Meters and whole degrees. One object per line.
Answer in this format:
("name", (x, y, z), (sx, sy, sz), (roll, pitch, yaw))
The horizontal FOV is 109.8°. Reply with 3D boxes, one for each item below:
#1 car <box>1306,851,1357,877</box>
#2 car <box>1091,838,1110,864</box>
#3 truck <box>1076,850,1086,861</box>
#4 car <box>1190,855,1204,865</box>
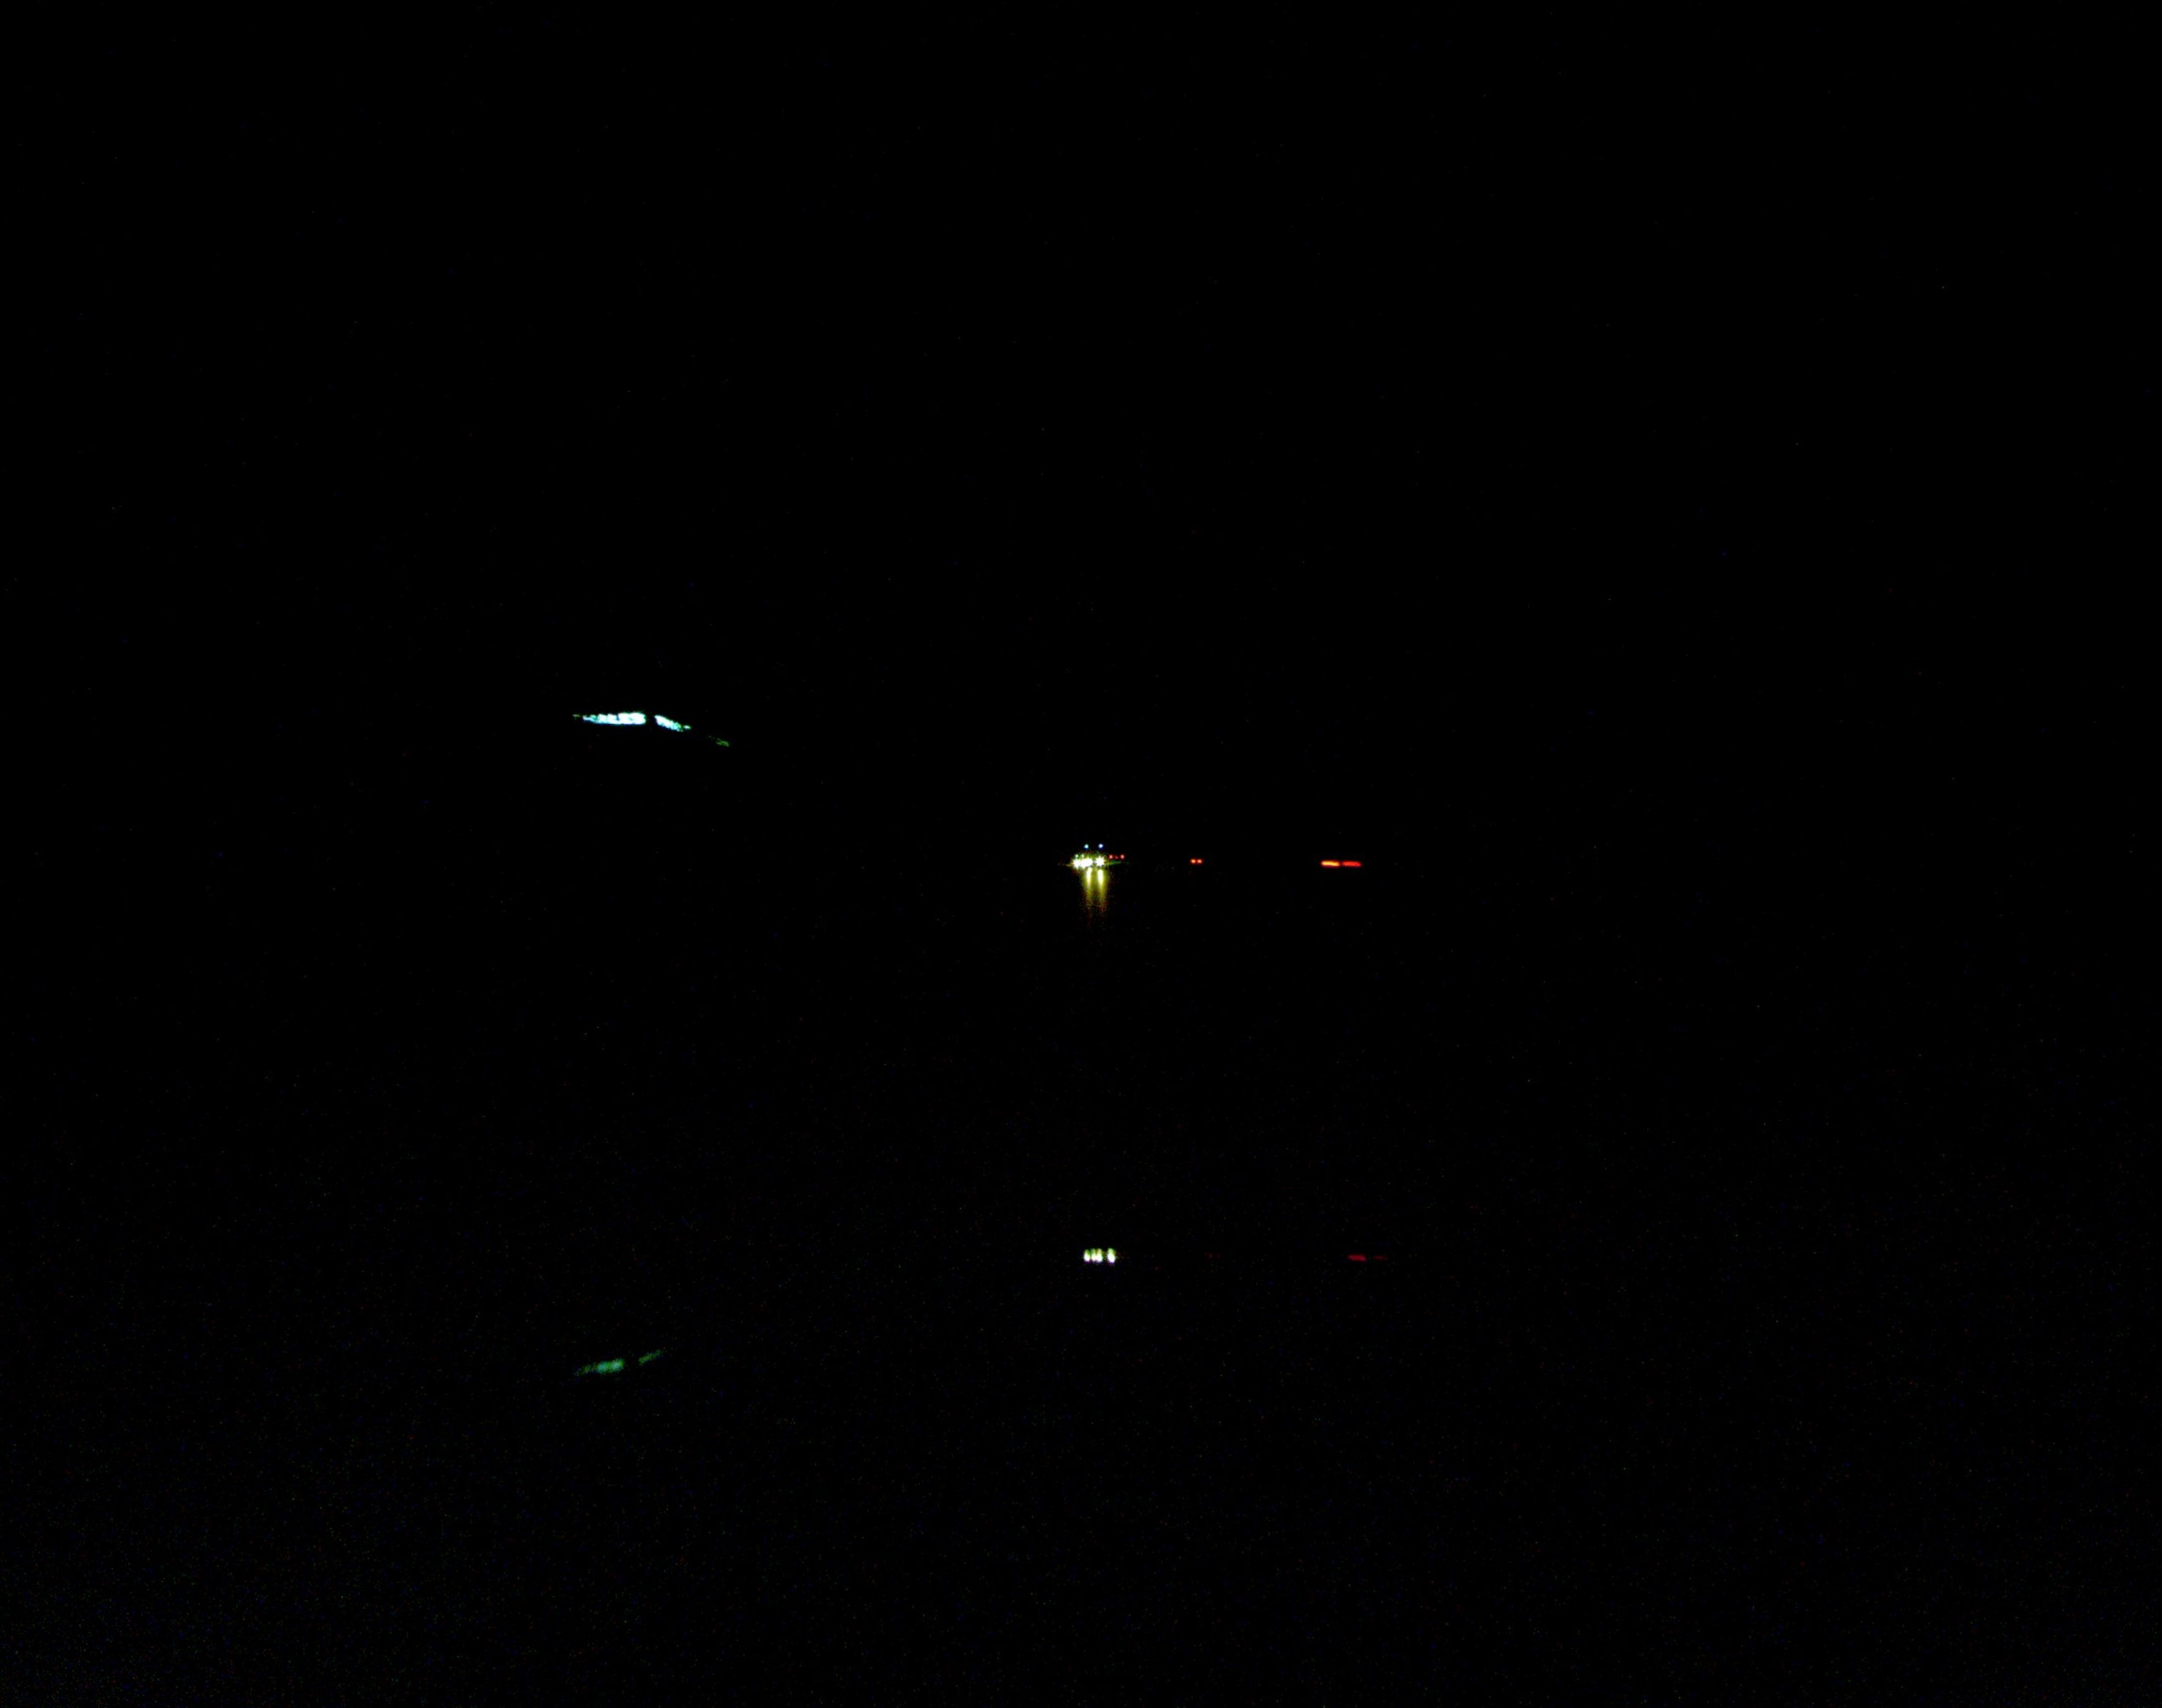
("car", (16.584, 0.627, 50.512), (1.908, 1.608, 4.403), (-1, 0, -1))
("car", (2.482, -0.361, 99.484), (2.255, 3.205, 6.878), (-2, 0, 1))
("truck", (0.101, 0.510, 249.997), (3.042, 3.726, 7.560), (-1, 0, 1))
("car", (22.408, 1.149, 147.337), (1.908, 1.625, 5.045), (-4, 1, 1))
